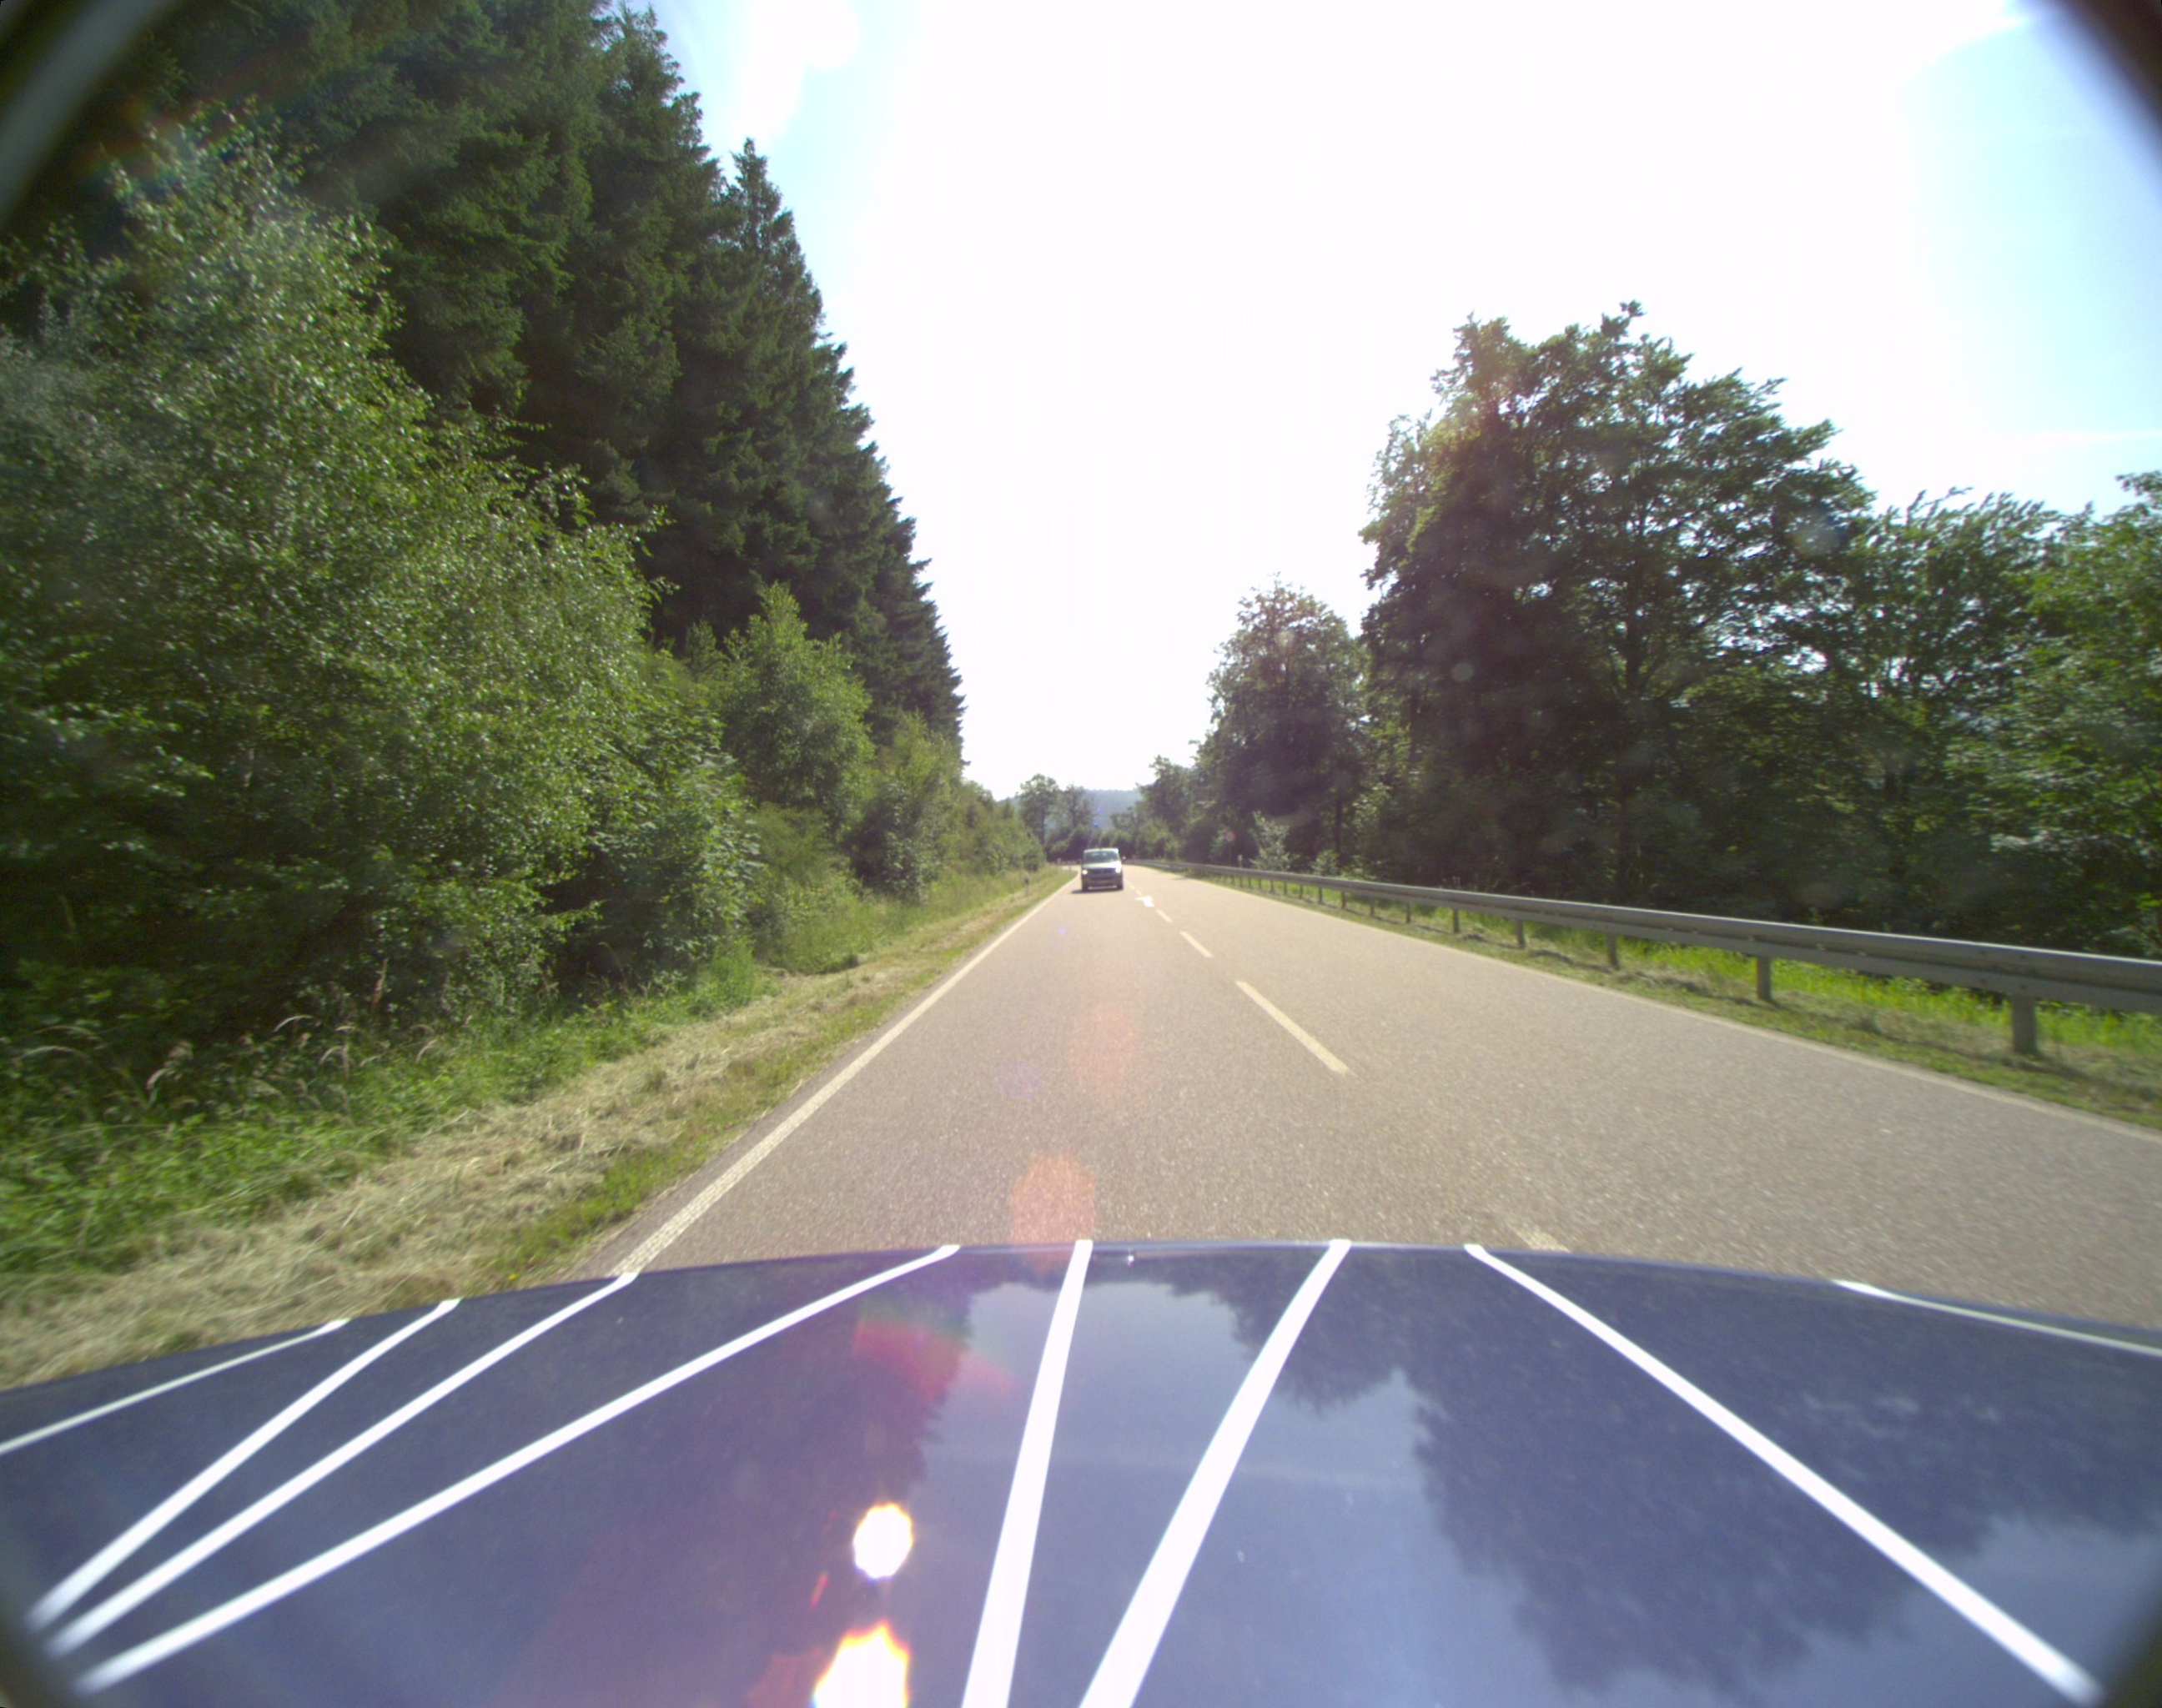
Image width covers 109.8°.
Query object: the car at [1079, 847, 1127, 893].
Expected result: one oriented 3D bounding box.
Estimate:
[{"bbox_3d":[1.099,0.676,35.695,1.990,1.899,4.761,-3,0,3],"label":"car"}]
